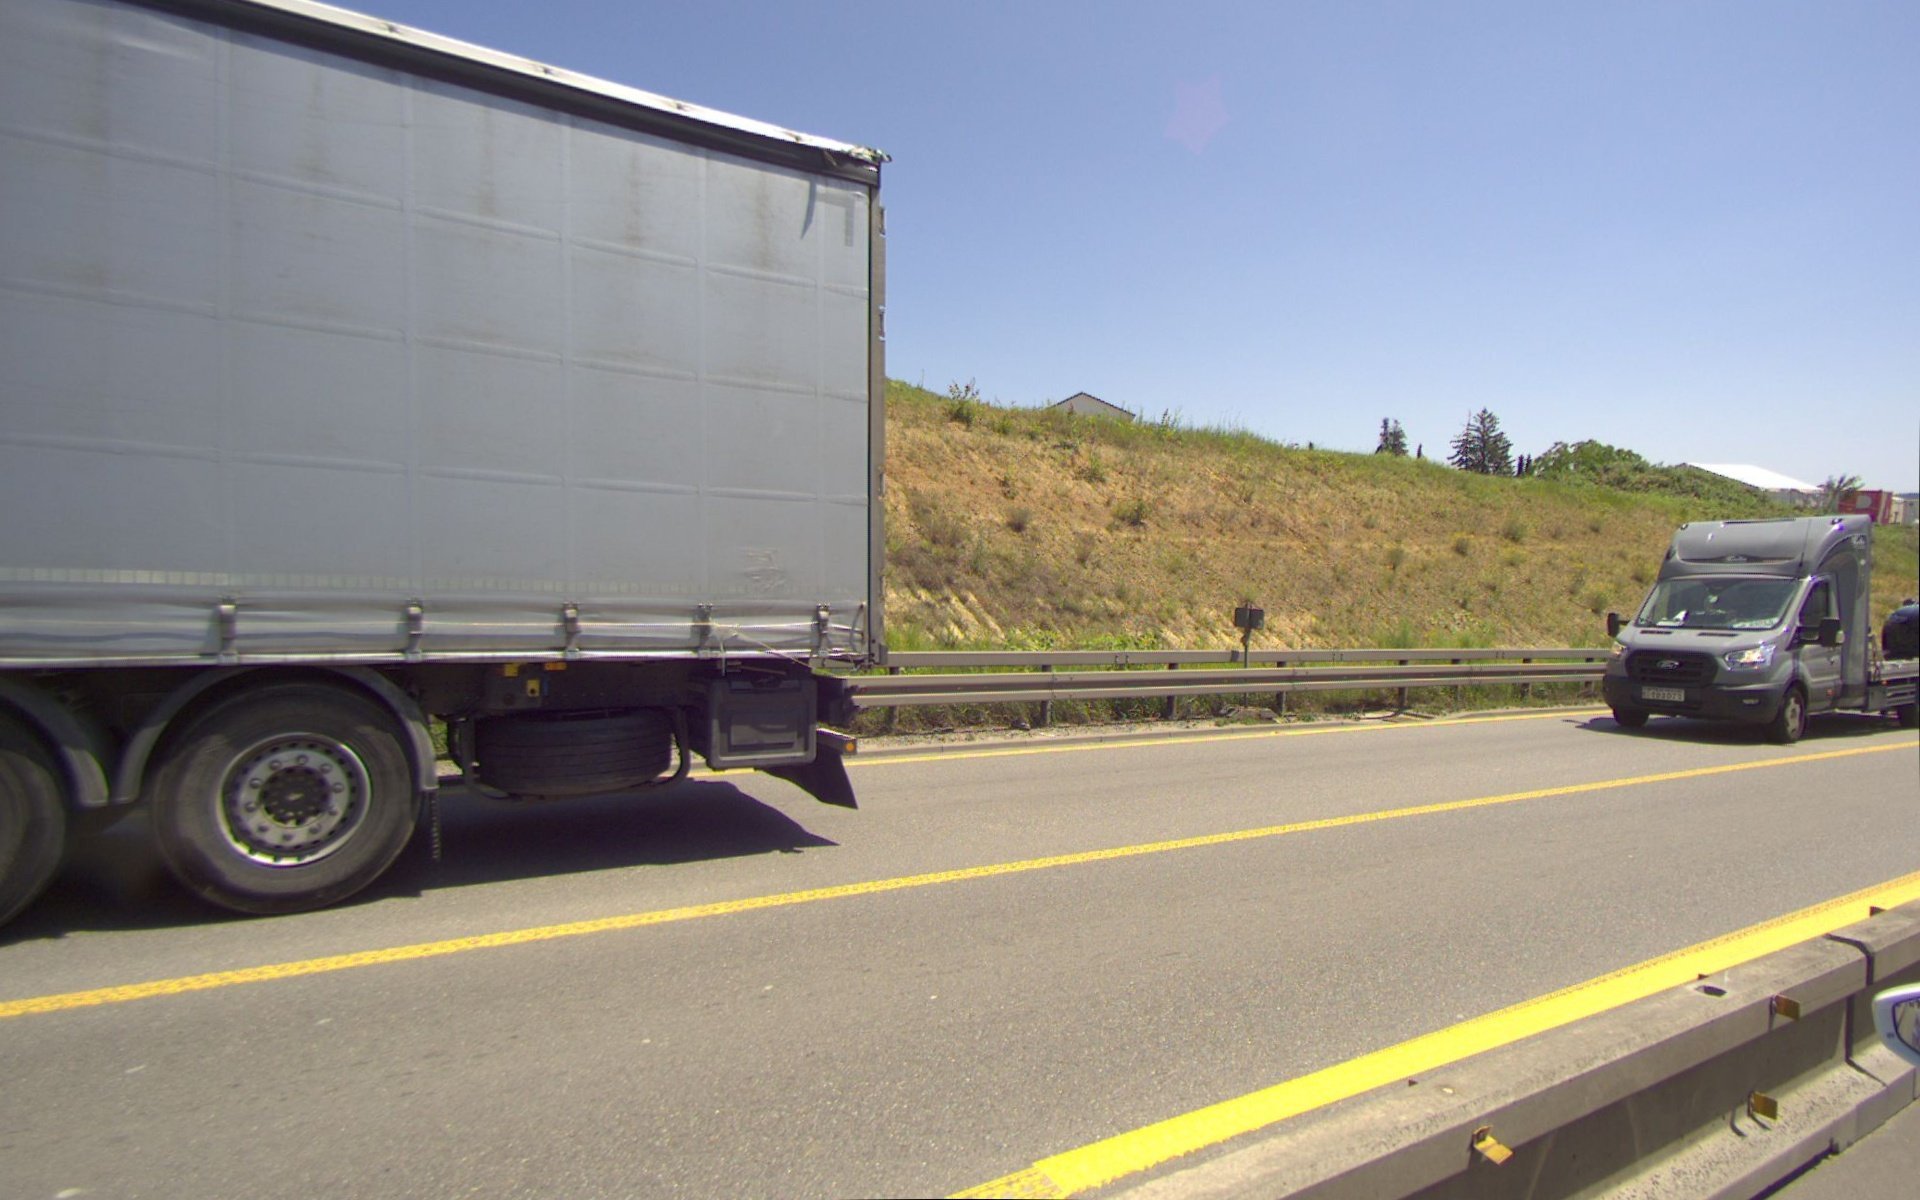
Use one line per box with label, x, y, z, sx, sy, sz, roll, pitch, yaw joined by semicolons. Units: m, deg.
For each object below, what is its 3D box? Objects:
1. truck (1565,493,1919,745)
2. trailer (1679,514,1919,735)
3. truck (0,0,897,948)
truck;11.279;0.269;14.122;5.783;2.921;2.257;1;0;-31
trailer;17.045;0.449;17.589;12.891;2.921;2.257;1;0;-31
truck;-6.937;-0.788;3.539;13.647;4.142;2.753;1;0;-31
